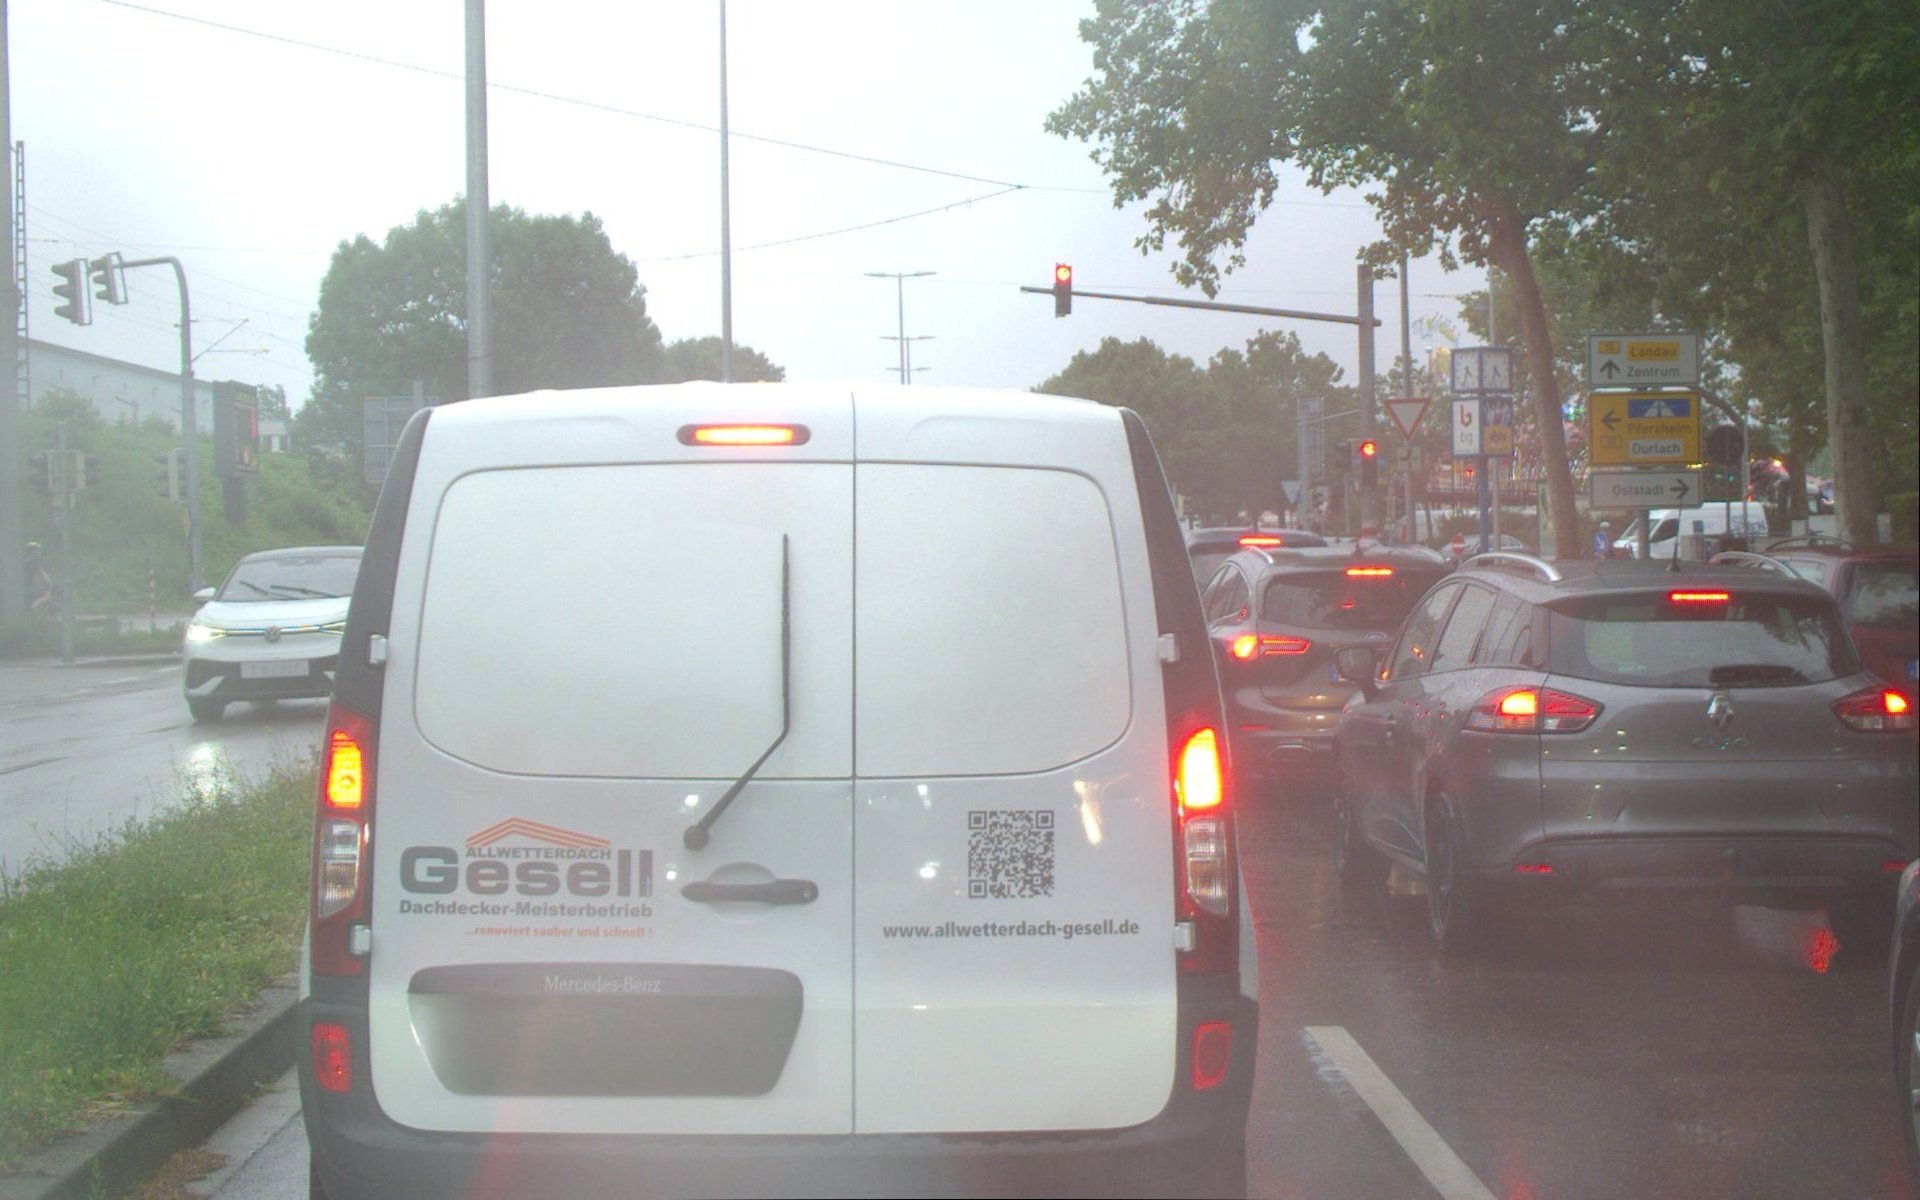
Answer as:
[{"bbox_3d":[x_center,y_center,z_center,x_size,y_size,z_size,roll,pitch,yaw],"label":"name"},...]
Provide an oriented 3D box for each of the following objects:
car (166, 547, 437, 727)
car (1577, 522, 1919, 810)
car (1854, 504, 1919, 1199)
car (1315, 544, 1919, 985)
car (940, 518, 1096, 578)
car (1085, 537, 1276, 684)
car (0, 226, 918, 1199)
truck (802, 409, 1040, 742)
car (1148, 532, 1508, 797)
[{"bbox_3d":[-6.415,0.308,33.955,1.962,1.520,4.335,-2,2,-2],"label":"car"},{"bbox_3d":[5.028,0.336,20.473,1.839,1.531,4.112,1,1,-2],"label":"car"},{"bbox_3d":[2.965,0.617,5.817,1.708,1.544,4.001,0,2,-2],"label":"car"},{"bbox_3d":[2.487,0.519,13.519,1.711,1.440,4.000,0,1,-1],"label":"car"},{"bbox_3d":[1.607,-1.428,94.479,3.987,1.579,1.717,-2,1,-34],"label":"car"},{"bbox_3d":[2.279,0.072,36.398,1.711,1.440,4.000,0,1,-1],"label":"car"},{"bbox_3d":[-1.149,0.353,7.654,1.993,2.007,4.001,0,1,-2],"label":"car"},{"bbox_3d":[-0.369,-0.205,27.476,1.756,2.458,4.000,0,1,-2],"label":"truck"},{"bbox_3d":[2.145,0.317,20.987,1.711,1.440,4.000,0,1,-1],"label":"car"}]
